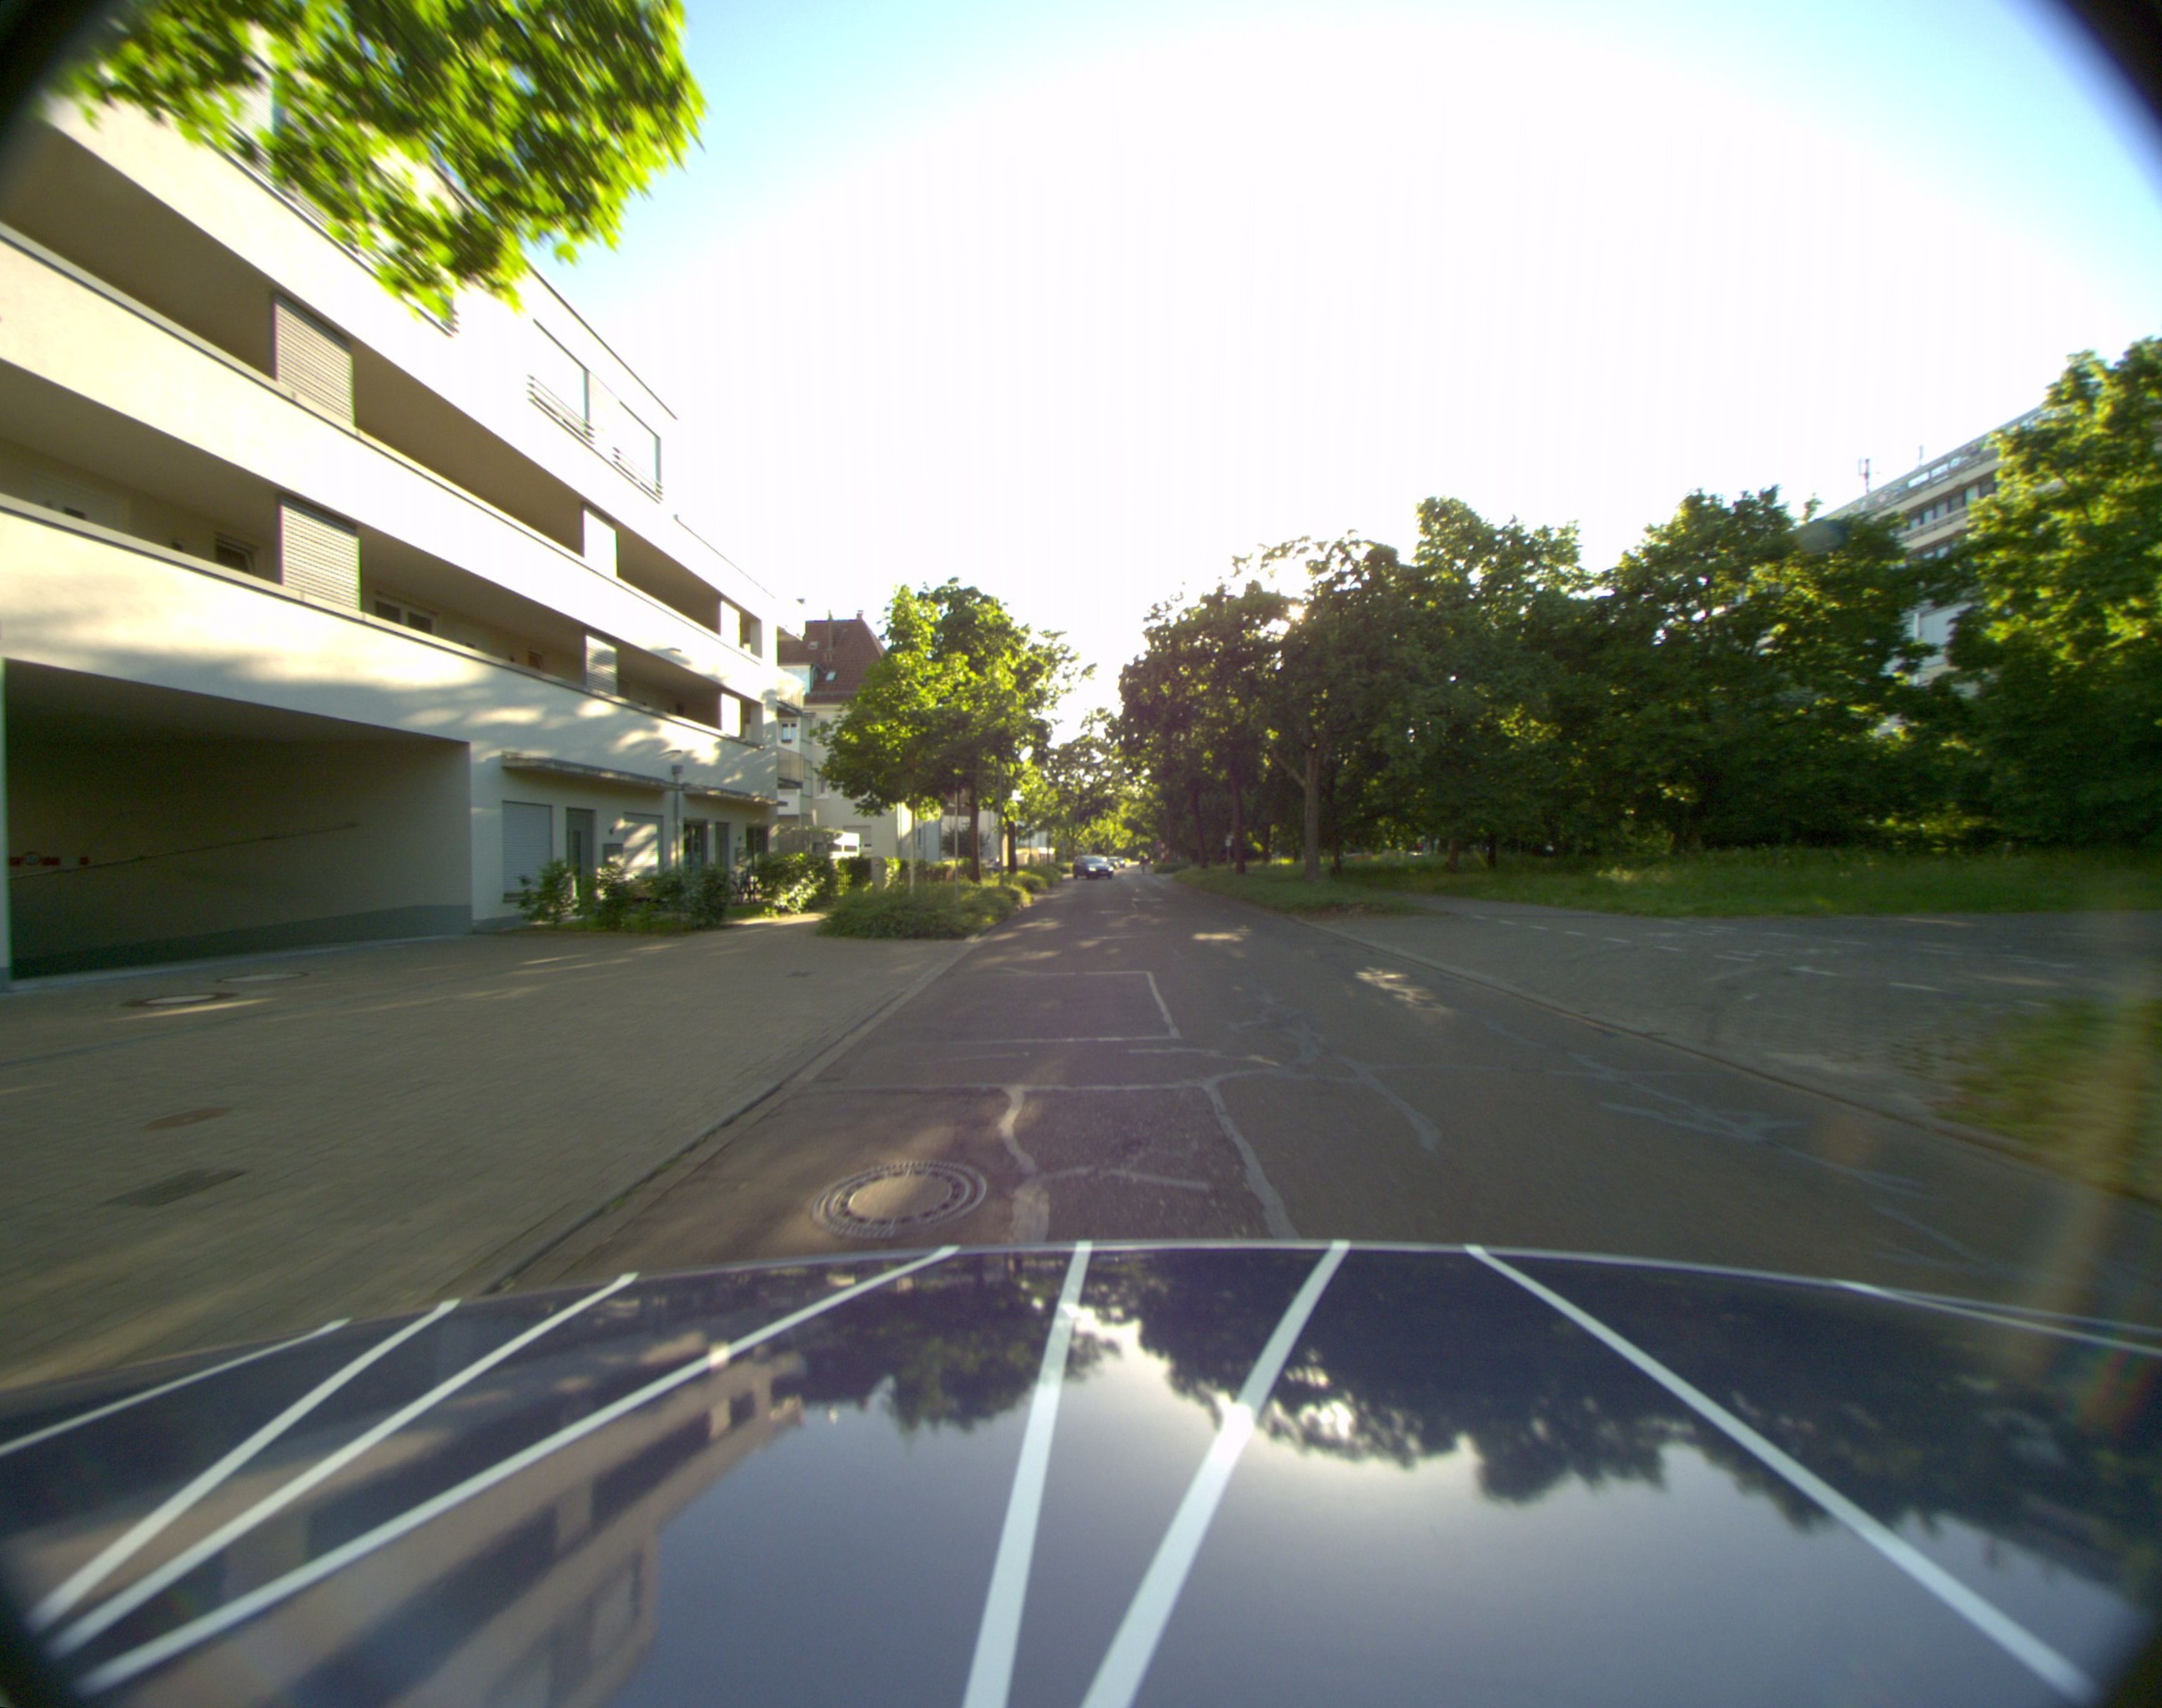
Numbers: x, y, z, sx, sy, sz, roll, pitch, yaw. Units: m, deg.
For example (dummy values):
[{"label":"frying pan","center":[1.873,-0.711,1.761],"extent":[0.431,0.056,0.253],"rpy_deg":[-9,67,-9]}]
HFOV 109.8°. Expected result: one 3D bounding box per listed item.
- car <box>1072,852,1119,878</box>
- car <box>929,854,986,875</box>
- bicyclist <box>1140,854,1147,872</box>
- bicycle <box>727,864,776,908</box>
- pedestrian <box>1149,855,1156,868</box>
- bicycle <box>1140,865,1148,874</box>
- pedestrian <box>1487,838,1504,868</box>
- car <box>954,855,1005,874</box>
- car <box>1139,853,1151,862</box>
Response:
[{"label":"car","center":[0.925,0.736,51.640],"extent":[1.770,1.664,4.272],"rpy_deg":[-2,0,-19]},{"label":"car","center":[-9.339,0.805,57.768],"extent":[3.997,1.572,1.810],"rpy_deg":[-1,-1,1]},{"label":"bicyclist","center":[5.428,0.809,65.818],"extent":[0.634,1.546,1.003],"rpy_deg":[1,1,5]},{"label":"bicycle","center":[-9.593,0.899,22.197],"extent":[0.619,1.184,1.753],"rpy_deg":[-2,0,1]},{"label":"pedestrian","center":[9.784,1.011,104.043],"extent":[0.905,1.810,0.721],"rpy_deg":[-1,0,3]},{"label":"bicycle","center":[5.452,1.345,65.846],"extent":[0.640,0.737,2.127],"rpy_deg":[1,0,5]},{"label":"pedestrian","center":[27.815,-0.081,51.007],"extent":[0.758,2.002,0.590],"rpy_deg":[-2,1,6]},{"label":"car","center":[-8.648,0.874,65.133],"extent":[4.050,1.506,1.727],"rpy_deg":[-1,2,2]},{"label":"car","center":[12.080,0.604,143.022],"extent":[1.847,1.569,4.339],"rpy_deg":[1,0,10]}]
